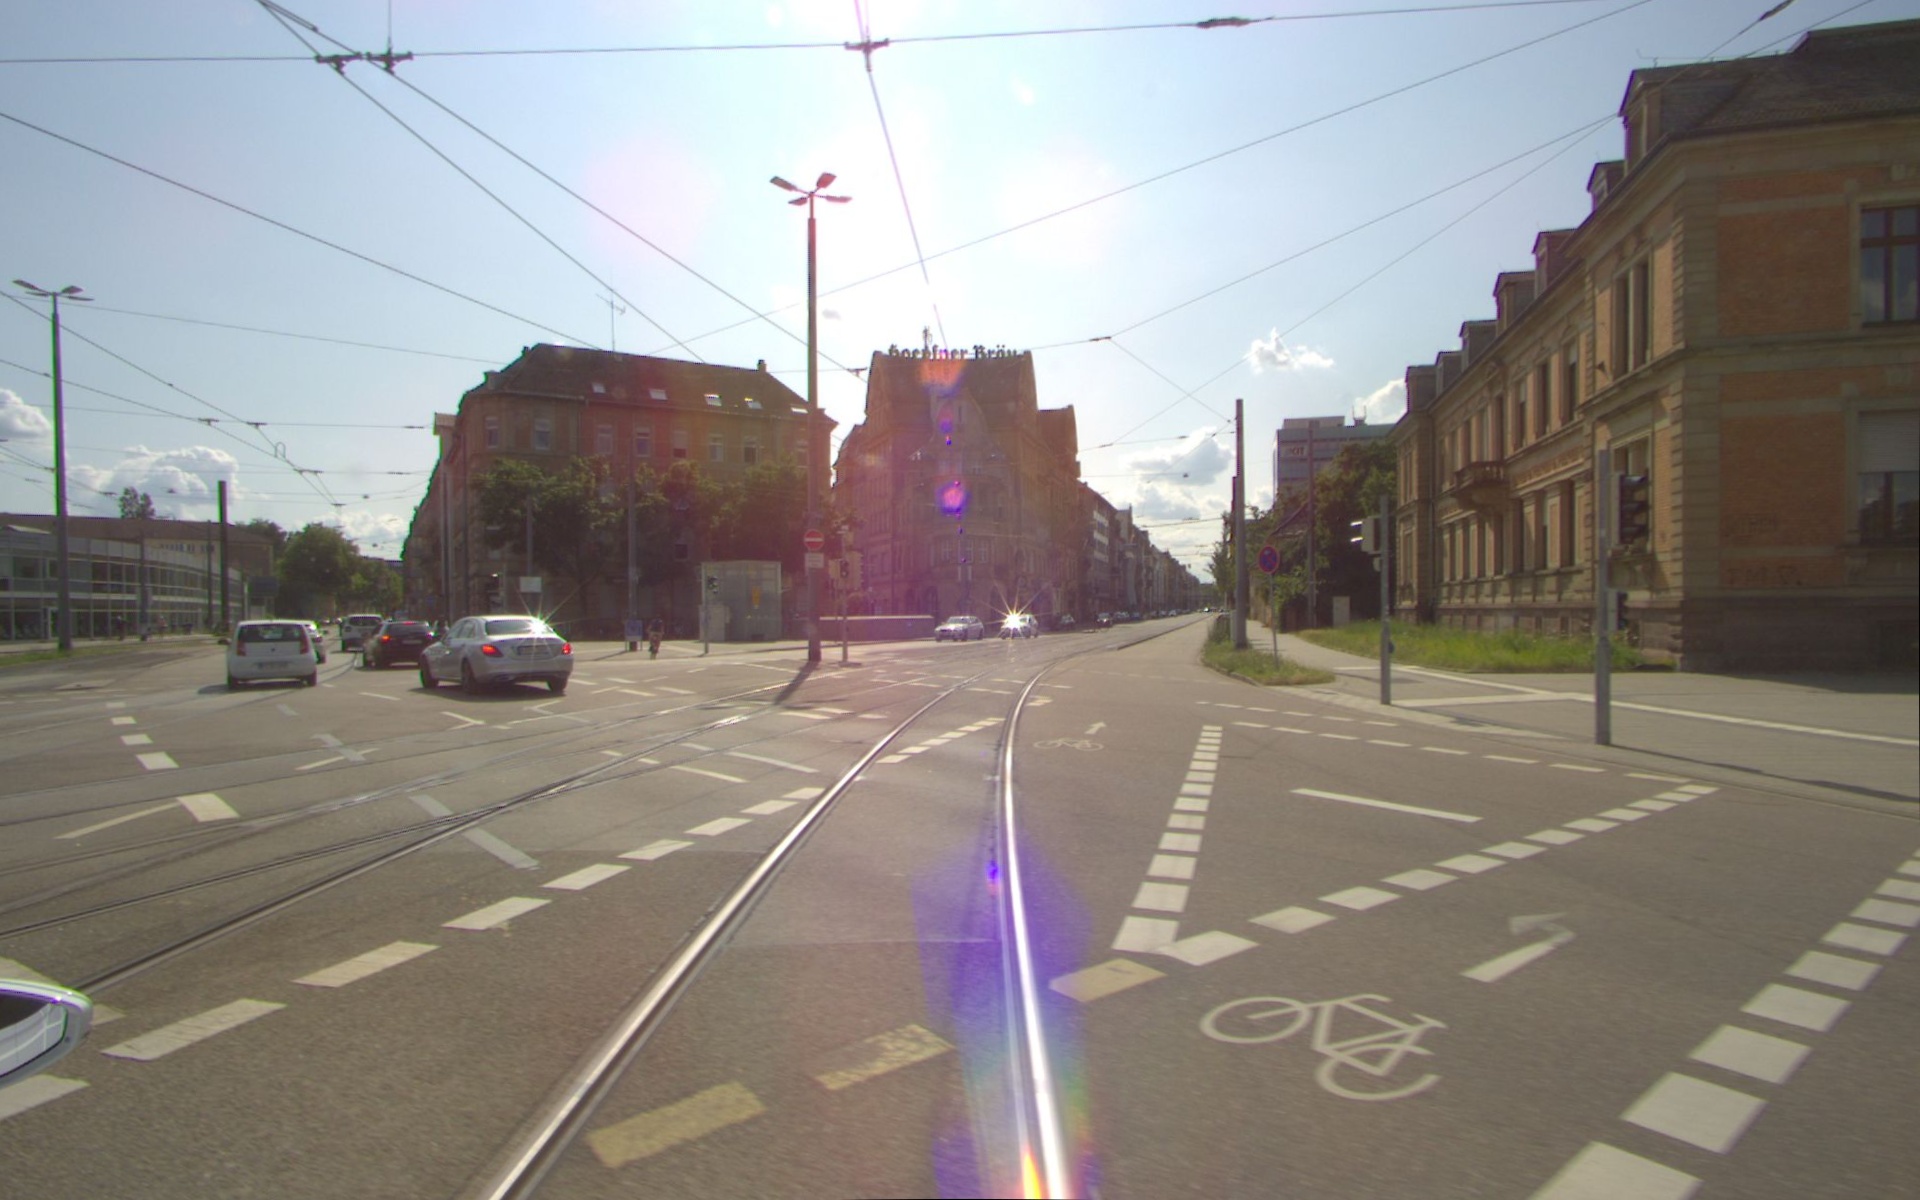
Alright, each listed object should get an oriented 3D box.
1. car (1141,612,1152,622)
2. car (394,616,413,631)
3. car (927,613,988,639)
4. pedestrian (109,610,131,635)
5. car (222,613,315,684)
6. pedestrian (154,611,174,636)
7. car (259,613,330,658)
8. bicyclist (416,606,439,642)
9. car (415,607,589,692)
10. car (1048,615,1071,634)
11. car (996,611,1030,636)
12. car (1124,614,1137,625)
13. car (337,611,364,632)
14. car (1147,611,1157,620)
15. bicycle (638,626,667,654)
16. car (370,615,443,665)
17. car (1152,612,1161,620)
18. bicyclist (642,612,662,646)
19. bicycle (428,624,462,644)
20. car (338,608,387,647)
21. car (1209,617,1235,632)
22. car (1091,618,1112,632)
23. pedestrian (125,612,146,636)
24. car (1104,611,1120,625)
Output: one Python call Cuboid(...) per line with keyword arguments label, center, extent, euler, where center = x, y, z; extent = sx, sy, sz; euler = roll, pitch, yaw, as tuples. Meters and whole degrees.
Cuboid(label="car", center=(35.373, 3.313, 190.175), extent=(1.963, 1.839, 3.998), euler=(0, -1, 13))
Cuboid(label="car", center=(-64.092, 2.715, 115.315), extent=(1.816, 1.673, 3.981), euler=(1, -2, -29))
Cuboid(label="car", center=(-0.102, 1.495, 58.850), extent=(2.012, 1.448, 4.528), euler=(-2, -1, 22))
Cuboid(label="pedestrian", center=(-60.218, 1.601, 71.789), extent=(0.862, 1.759, 0.875), euler=(1, -2, -14))
Cuboid(label="car", center=(-15.906, 1.042, 23.068), extent=(1.633, 1.440, 3.973), euler=(-1, 0, -35))
Cuboid(label="pedestrian", center=(-61.182, 1.825, 76.986), extent=(0.862, 1.946, 0.875), euler=(1, -2, -17))
Cuboid(label="car", center=(-22.544, 1.202, 34.033), extent=(1.830, 1.437, 3.659), euler=(1, -2, -31))
Cuboid(label="bicyclist", center=(-21.588, 0.968, 40.582), extent=(0.765, 1.470, 0.605), euler=(-1, 0, 42))
Cuboid(label="car", center=(-9.177, 0.882, 19.855), extent=(1.916, 1.474, 4.717), euler=(0, 0, -41))
Cuboid(label="car", center=(9.459, 2.304, 94.648), extent=(1.689, 1.704, 3.924), euler=(0, -1, 13))
Cuboid(label="car", center=(3.306, 1.437, 61.804), extent=(1.953, 1.503, 4.000), euler=(0, 0, 5))
Cuboid(label="car", center=(29.776, 3.392, 174.855), extent=(1.963, 1.839, 3.998), euler=(0, -1, 13))
Cuboid(label="car", center=(-50.865, 1.793, 83.617), extent=(1.816, 1.673, 3.981), euler=(1, -2, -29))
Cuboid(label="car", center=(41.111, 3.348, 214.157), extent=(1.963, 1.839, 3.998), euler=(0, -1, 13))
Cuboid(label="bicycle", center=(-11.304, 1.467, 36.813), extent=(0.836, 0.983, 1.954), euler=(0, -1, -23))
Cuboid(label="car", center=(-17.122, 1.179, 30.885), extent=(1.681, 1.390, 4.107), euler=(0, 0, -33))
Cuboid(label="car", center=(45.377, 3.620, 231.612), extent=(1.963, 1.839, 3.998), euler=(0, -1, 13))
Cuboid(label="bicyclist", center=(-11.343, 1.066, 36.889), extent=(0.626, 1.236, 0.921), euler=(-1, 1, -22))
Cuboid(label="bicycle", center=(-21.143, 1.392, 41.112), extent=(1.600, 0.786, 0.582), euler=(-1, 0, 37))
Cuboid(label="car", center=(-27.098, 1.259, 45.367), extent=(1.818, 1.673, 3.977), euler=(1, -2, -33))
Cuboid(label="car", center=(24.673, 2.290, 94.289), extent=(1.965, 1.394, 3.991), euler=(0, -1, 21))
Cuboid(label="car", center=(14.456, 2.532, 102.289), extent=(1.859, 1.438, 3.998), euler=(0, -1, 13))
Cuboid(label="pedestrian", center=(-60.841, 1.793, 73.906), extent=(0.862, 1.759, 0.875), euler=(1, -2, -14))
Cuboid(label="car", center=(20.956, 2.530, 137.927), extent=(1.963, 1.839, 3.998), euler=(0, -1, 13))
